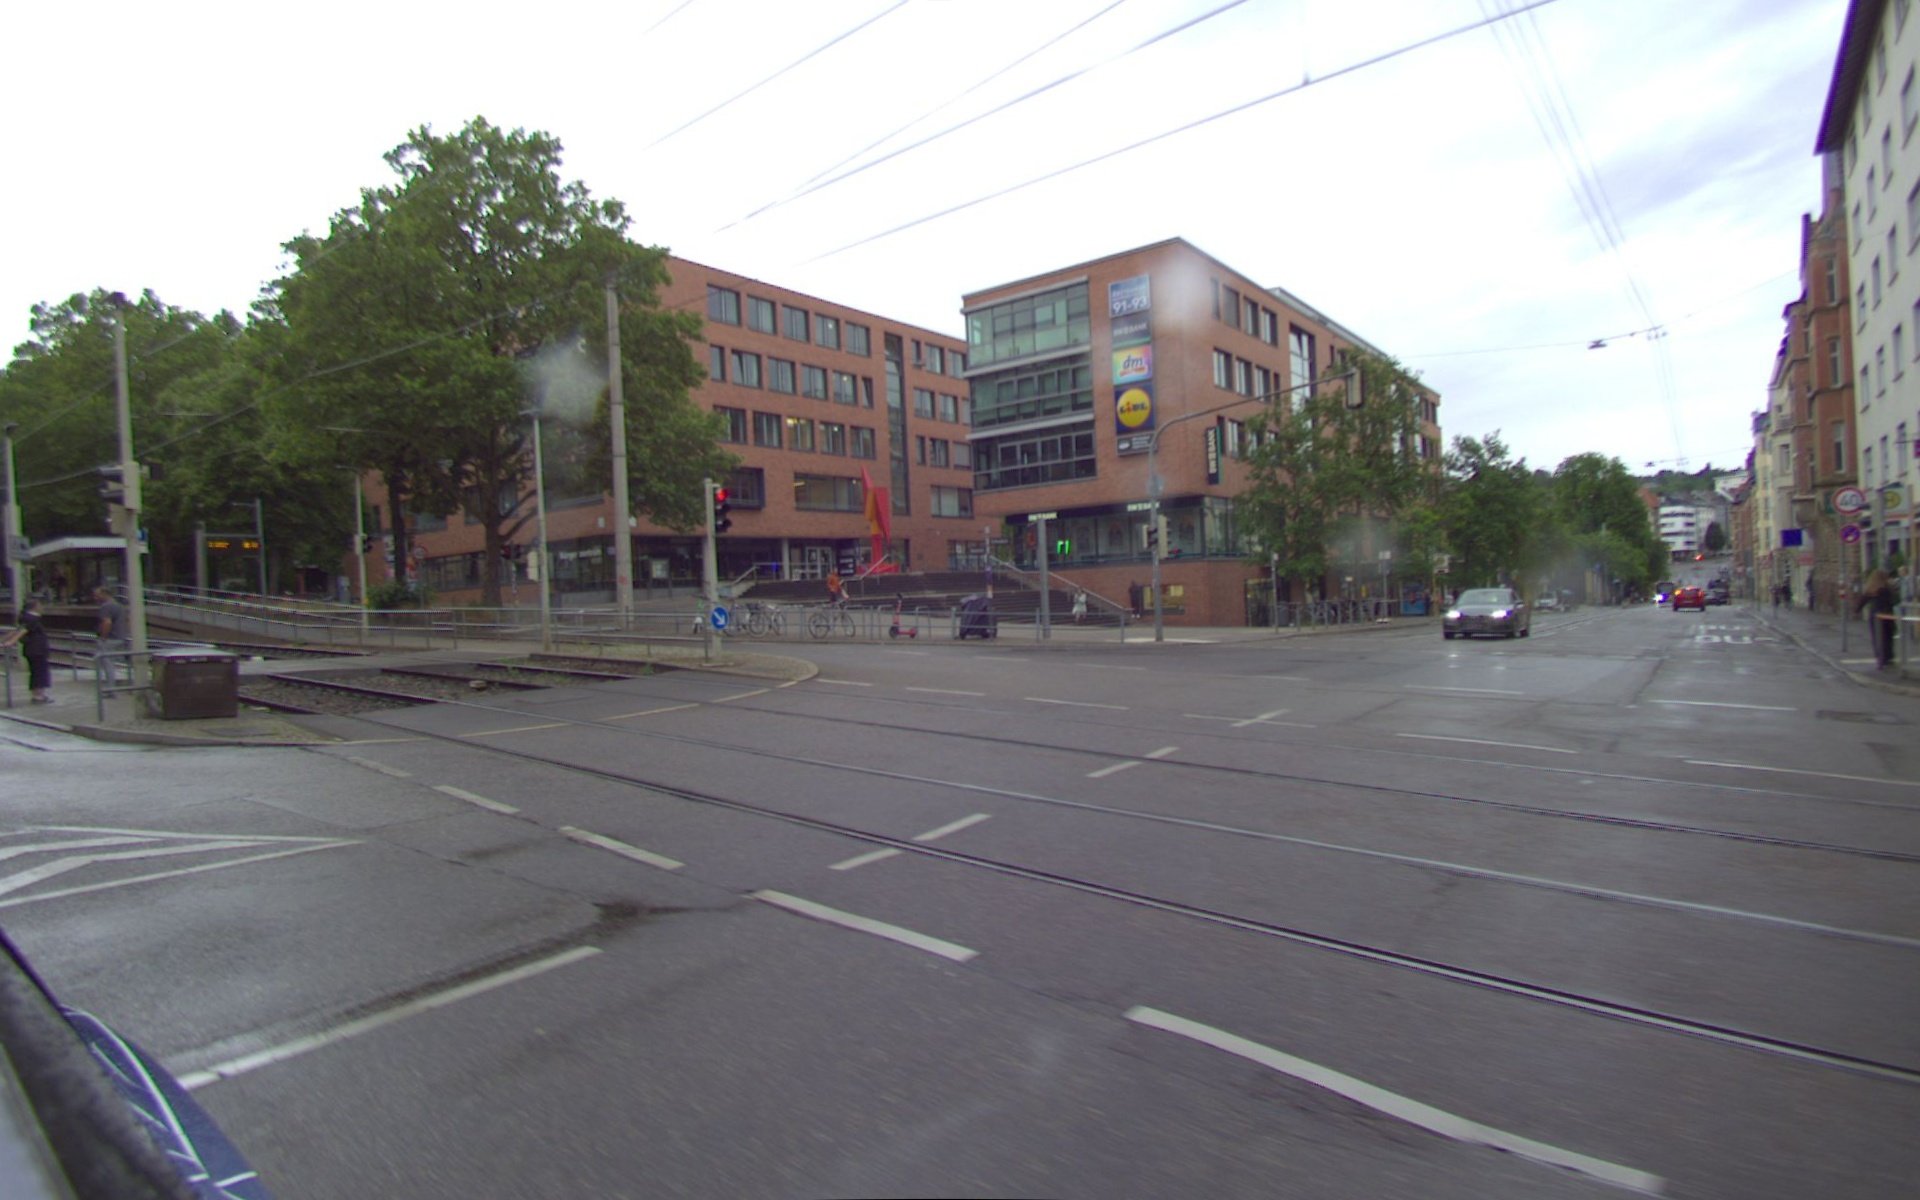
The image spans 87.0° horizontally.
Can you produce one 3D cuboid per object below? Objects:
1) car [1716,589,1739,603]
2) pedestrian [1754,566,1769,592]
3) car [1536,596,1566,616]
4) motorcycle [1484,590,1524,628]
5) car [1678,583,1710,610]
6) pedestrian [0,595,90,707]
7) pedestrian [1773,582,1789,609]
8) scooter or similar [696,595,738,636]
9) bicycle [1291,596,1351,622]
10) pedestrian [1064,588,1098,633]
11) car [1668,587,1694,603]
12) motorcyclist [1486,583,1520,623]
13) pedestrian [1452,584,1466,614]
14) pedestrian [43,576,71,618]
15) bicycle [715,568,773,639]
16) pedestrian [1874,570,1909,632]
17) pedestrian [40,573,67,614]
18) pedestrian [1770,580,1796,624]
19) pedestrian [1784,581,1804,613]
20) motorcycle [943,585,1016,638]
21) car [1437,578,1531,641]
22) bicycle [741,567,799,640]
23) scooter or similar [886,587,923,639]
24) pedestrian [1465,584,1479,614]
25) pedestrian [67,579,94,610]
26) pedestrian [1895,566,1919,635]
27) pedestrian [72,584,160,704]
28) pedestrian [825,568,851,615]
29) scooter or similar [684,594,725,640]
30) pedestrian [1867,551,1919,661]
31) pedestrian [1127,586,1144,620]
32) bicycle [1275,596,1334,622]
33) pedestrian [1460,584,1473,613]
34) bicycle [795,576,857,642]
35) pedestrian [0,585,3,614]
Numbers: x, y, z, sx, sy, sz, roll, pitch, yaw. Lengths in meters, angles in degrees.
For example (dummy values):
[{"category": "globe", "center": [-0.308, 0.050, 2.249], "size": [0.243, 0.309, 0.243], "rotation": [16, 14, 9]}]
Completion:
[{"category": "car", "center": [74.372, -0.408, 98.052], "size": [1.633, 1.302, 3.972], "rotation": [-1, 1, 35]}, {"category": "pedestrian", "center": [58.087, -1.505, 73.371], "size": [0.812, 1.851, 0.760], "rotation": [-1, 0, 36]}, {"category": "car", "center": [49.502, 0.491, 84.755], "size": [1.815, 1.601, 3.951], "rotation": [-1, 0, 36]}, {"category": "motorcycle", "center": [17.815, 0.275, 33.142], "size": [0.865, 1.167, 1.828], "rotation": [0, 1, 38]}, {"category": "car", "center": [47.769, -0.256, 65.910], "size": [1.633, 1.594, 3.953], "rotation": [-1, 2, 35]}, {"category": "pedestrian", "center": [-13.934, 0.740, 15.386], "size": [0.999, 1.616, 0.827], "rotation": [0, 1, 35]}, {"category": "pedestrian", "center": [57.139, -0.314, 70.455], "size": [0.812, 1.851, 0.760], "rotation": [-1, 0, 36]}, {"category": "scooter or similar", "center": [-7.413, 0.449, 30.908], "size": [0.474, 1.203, 1.710], "rotation": [0, 1, 16]}, {"category": "bicycle", "center": [16.085, 0.388, 45.138], "size": [2.366, 1.109, 0.841], "rotation": [0, 1, 40]}, {"category": "pedestrian", "center": [4.748, 0.394, 39.692], "size": [1.007, 1.743, 0.888], "rotation": [0, 1, 37]}, {"category": "car", "center": [62.917, -0.433, 88.292], "size": [1.635, 1.302, 3.948], "rotation": [0, 2, 39]}, {"category": "motorcyclist", "center": [17.783, 0.093, 33.138], "size": [0.840, 1.312, 0.804], "rotation": [0, 1, 38]}, {"category": "pedestrian", "center": [27.553, -0.059, 55.883], "size": [0.574, 1.641, 0.566], "rotation": [-1, 1, 36]}, {"category": "pedestrian", "center": [-46.050, -0.158, 51.625], "size": [0.882, 2.078, 0.828], "rotation": [0, 1, 33]}, {"category": "bicycle", "center": [-6.378, 0.074, 29.967], "size": [0.517, 2.028, 1.877], "rotation": [0, 2, 30]}, {"category": "pedestrian", "center": [25.884, 0.018, 28.122], "size": [0.667, 1.682, 0.822], "rotation": [0, 1, 40]}, {"category": "pedestrian", "center": [-47.017, -0.345, 52.505], "size": [0.882, 2.078, 0.828], "rotation": [0, 1, 33]}, {"category": "pedestrian", "center": [35.394, 0.079, 43.522], "size": [0.812, 1.851, 0.760], "rotation": [-1, 0, 36]}, {"category": "pedestrian", "center": [47.817, -0.181, 58.033], "size": [0.812, 1.851, 0.760], "rotation": [-1, 0, 36]}, {"category": "motorcycle", "center": [0.563, 0.287, 27.886], "size": [0.863, 1.381, 2.632], "rotation": [0, 1, 30]}, {"category": "car", "center": [15.090, 0.258, 29.031], "size": [1.838, 1.678, 3.951], "rotation": [-1, 0, 36]}, {"category": "bicycle", "center": [-5.513, 0.070, 29.474], "size": [0.517, 2.028, 1.877], "rotation": [0, 2, 30]}, {"category": "scooter or similar", "center": [-1.526, 0.334, 28.075], "size": [0.449, 1.381, 1.497], "rotation": [-1, 1, 20]}, {"category": "pedestrian", "center": [28.257, -0.066, 55.835], "size": [0.598, 1.641, 0.566], "rotation": [-1, 1, 36]}, {"category": "pedestrian", "center": [-43.106, -0.280, 49.598], "size": [0.882, 1.494, 0.773], "rotation": [0, 1, 33]}, {"category": "pedestrian", "center": [23.280, 0.010, 24.733], "size": [0.593, 1.680, 0.597], "rotation": [-1, 1, -43]}, {"category": "pedestrian", "center": [-13.343, 0.667, 16.002], "size": [0.999, 1.812, 0.818], "rotation": [0, 1, 35]}, {"category": "pedestrian", "center": [-4.766, -0.329, 39.573], "size": [0.779, 1.757, 1.073], "rotation": [-1, 5, -19]}, {"category": "scooter or similar", "center": [-7.915, 0.509, 31.367], "size": [0.449, 1.381, 1.497], "rotation": [-1, 1, 20]}, {"category": "pedestrian", "center": [15.724, 0.111, 16.944], "size": [0.639, 1.780, 0.620], "rotation": [-5, -3, 38]}, {"category": "pedestrian", "center": [8.341, 0.129, 48.128], "size": [0.590, 1.578, 0.514], "rotation": [0, 1, 35]}, {"category": "bicycle", "center": [15.132, 0.409, 44.423], "size": [2.358, 1.109, 0.693], "rotation": [-1, 1, 30]}, {"category": "pedestrian", "center": [28.516, -0.078, 57.007], "size": [0.572, 1.641, 0.480], "rotation": [-1, 1, 37]}, {"category": "bicycle", "center": [-3.749, 0.218, 28.445], "size": [0.555, 1.710, 2.076], "rotation": [1, 3, 30]}, {"category": "pedestrian", "center": [-59.596, -0.031, 62.475], "size": [0.702, 1.804, 0.669], "rotation": [0, 0, 37]}]
